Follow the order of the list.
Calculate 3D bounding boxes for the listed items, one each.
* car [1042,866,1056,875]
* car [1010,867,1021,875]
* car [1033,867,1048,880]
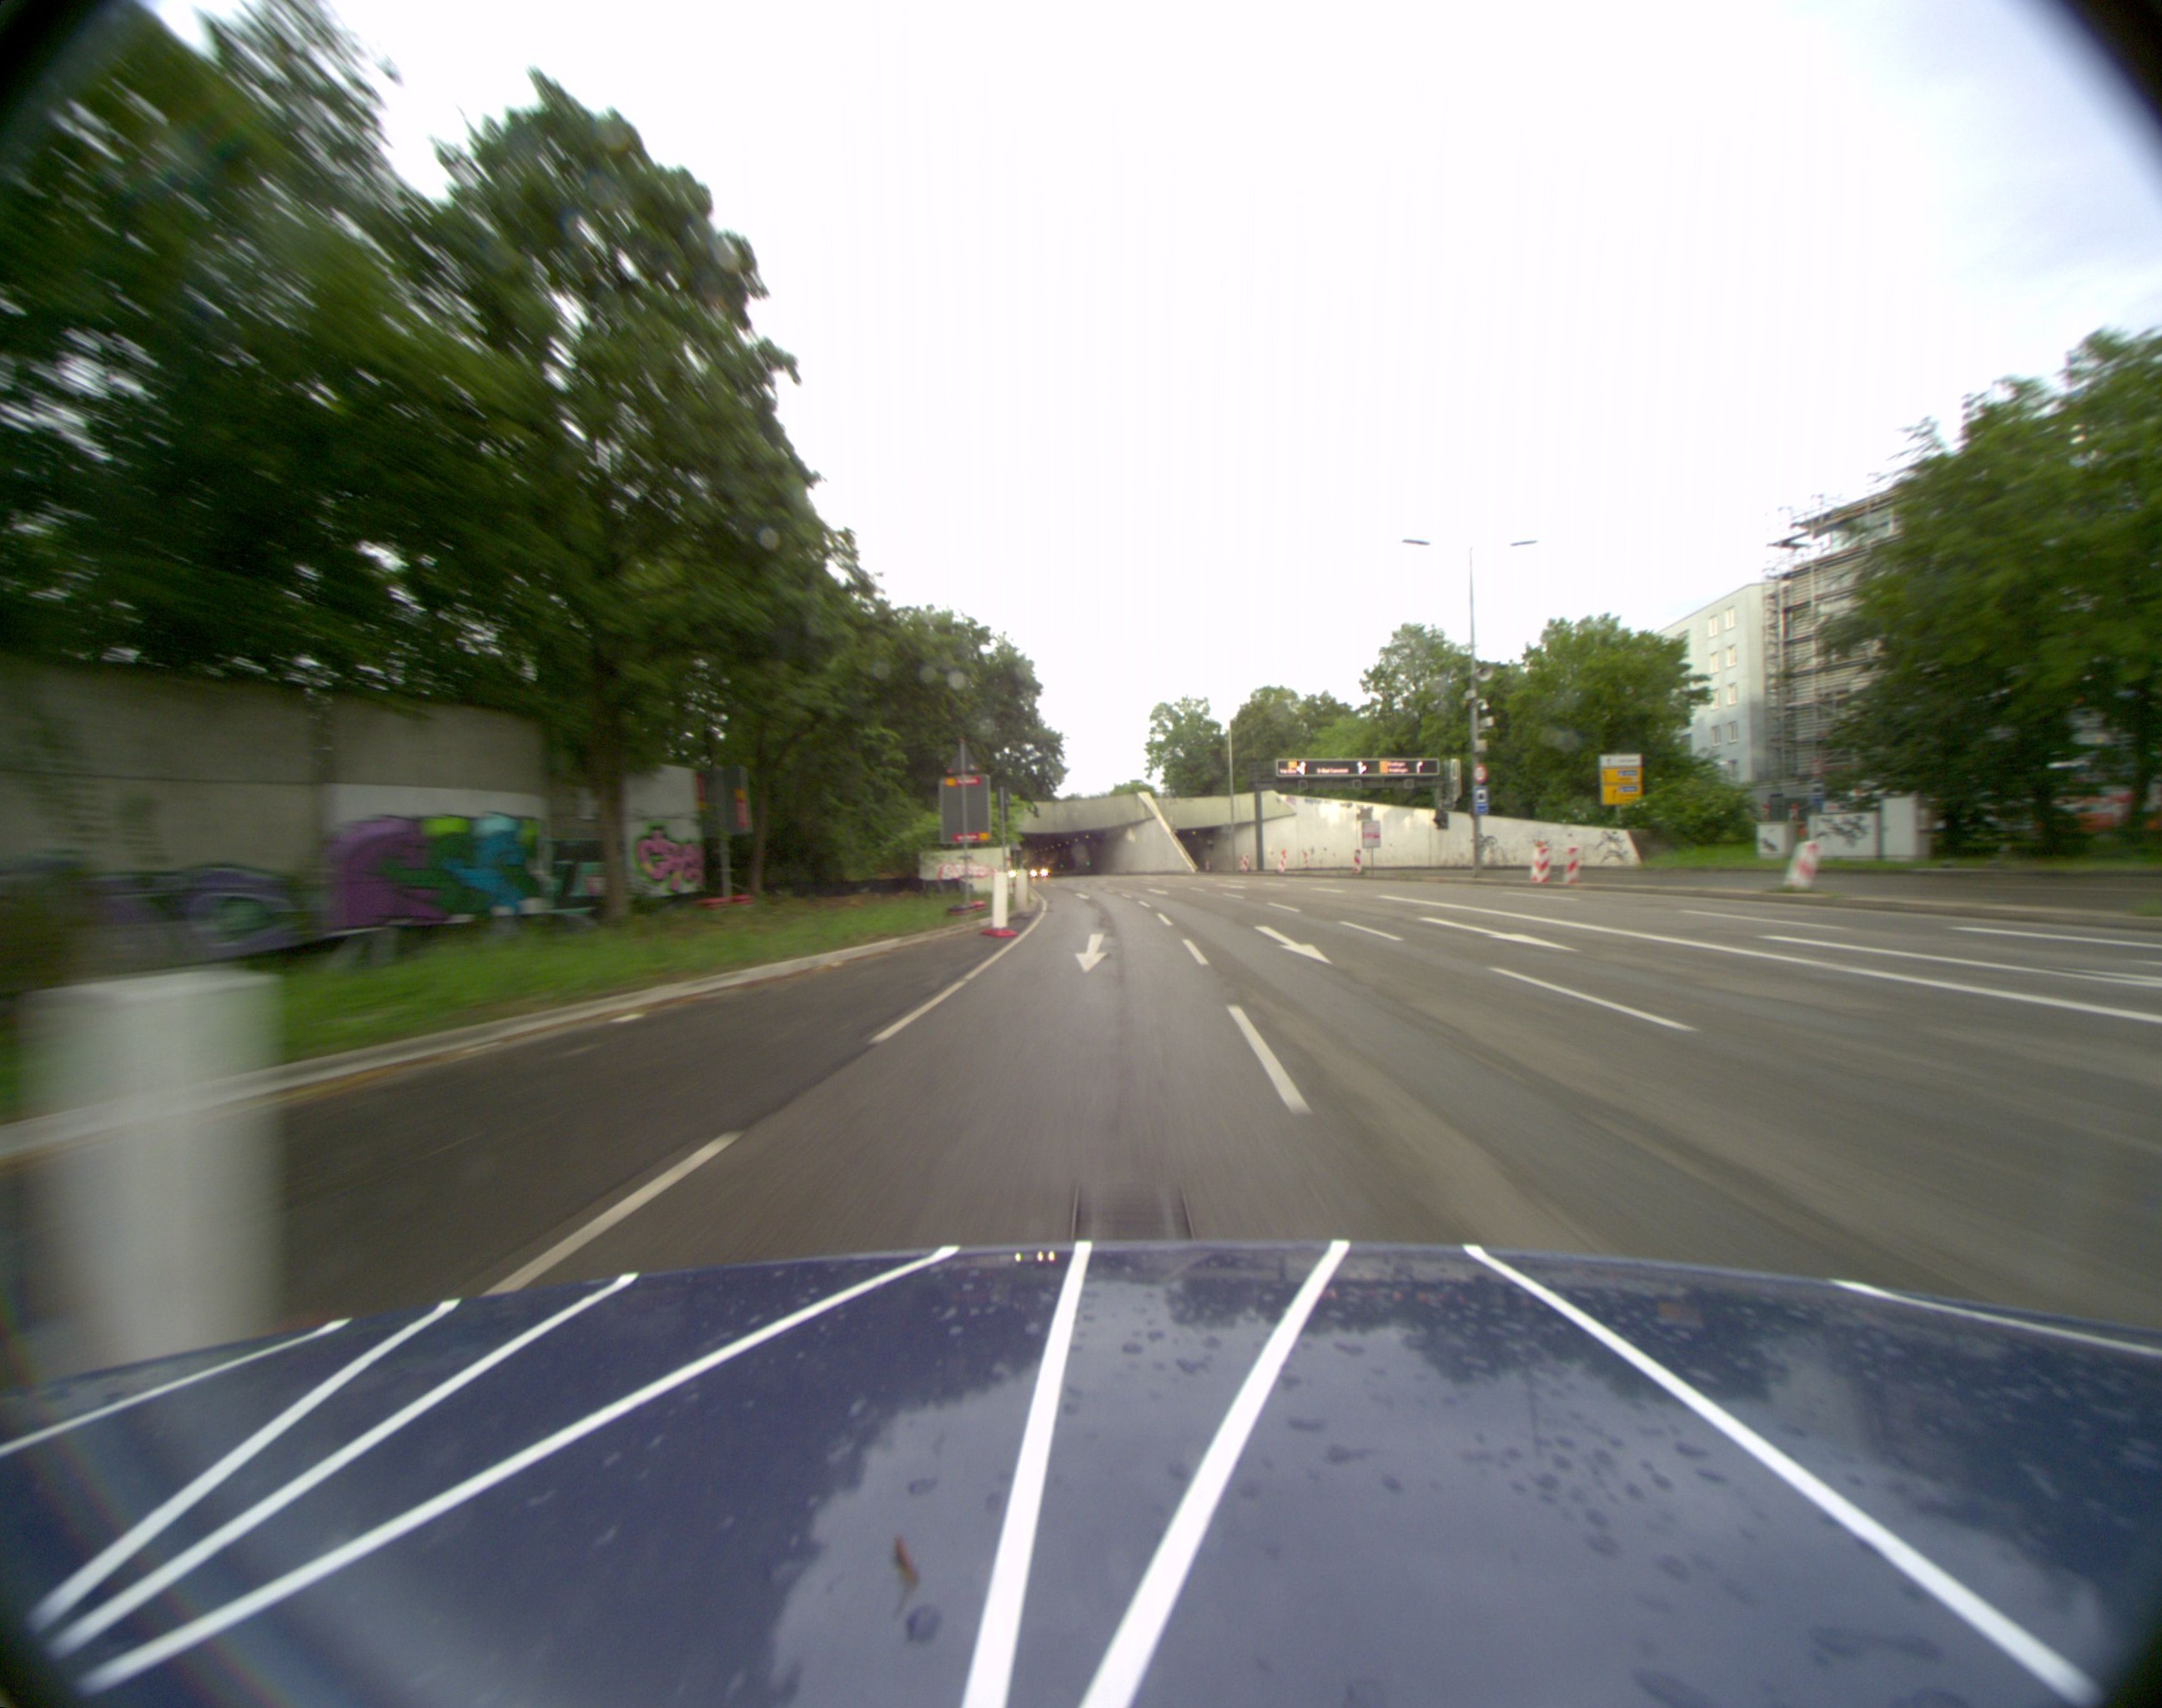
[{"bbox_3d":[-5.018,2.575,118.905,1.699,1.300,3.821,-1,1,-8],"label":"car"},{"bbox_3d":[-13.063,3.320,150.956,1.961,1.300,3.821,-1,1,-8],"label":"car"},{"bbox_3d":[-5.364,2.553,100.170,1.699,1.393,3.822,-1,1,-6],"label":"car"}]
